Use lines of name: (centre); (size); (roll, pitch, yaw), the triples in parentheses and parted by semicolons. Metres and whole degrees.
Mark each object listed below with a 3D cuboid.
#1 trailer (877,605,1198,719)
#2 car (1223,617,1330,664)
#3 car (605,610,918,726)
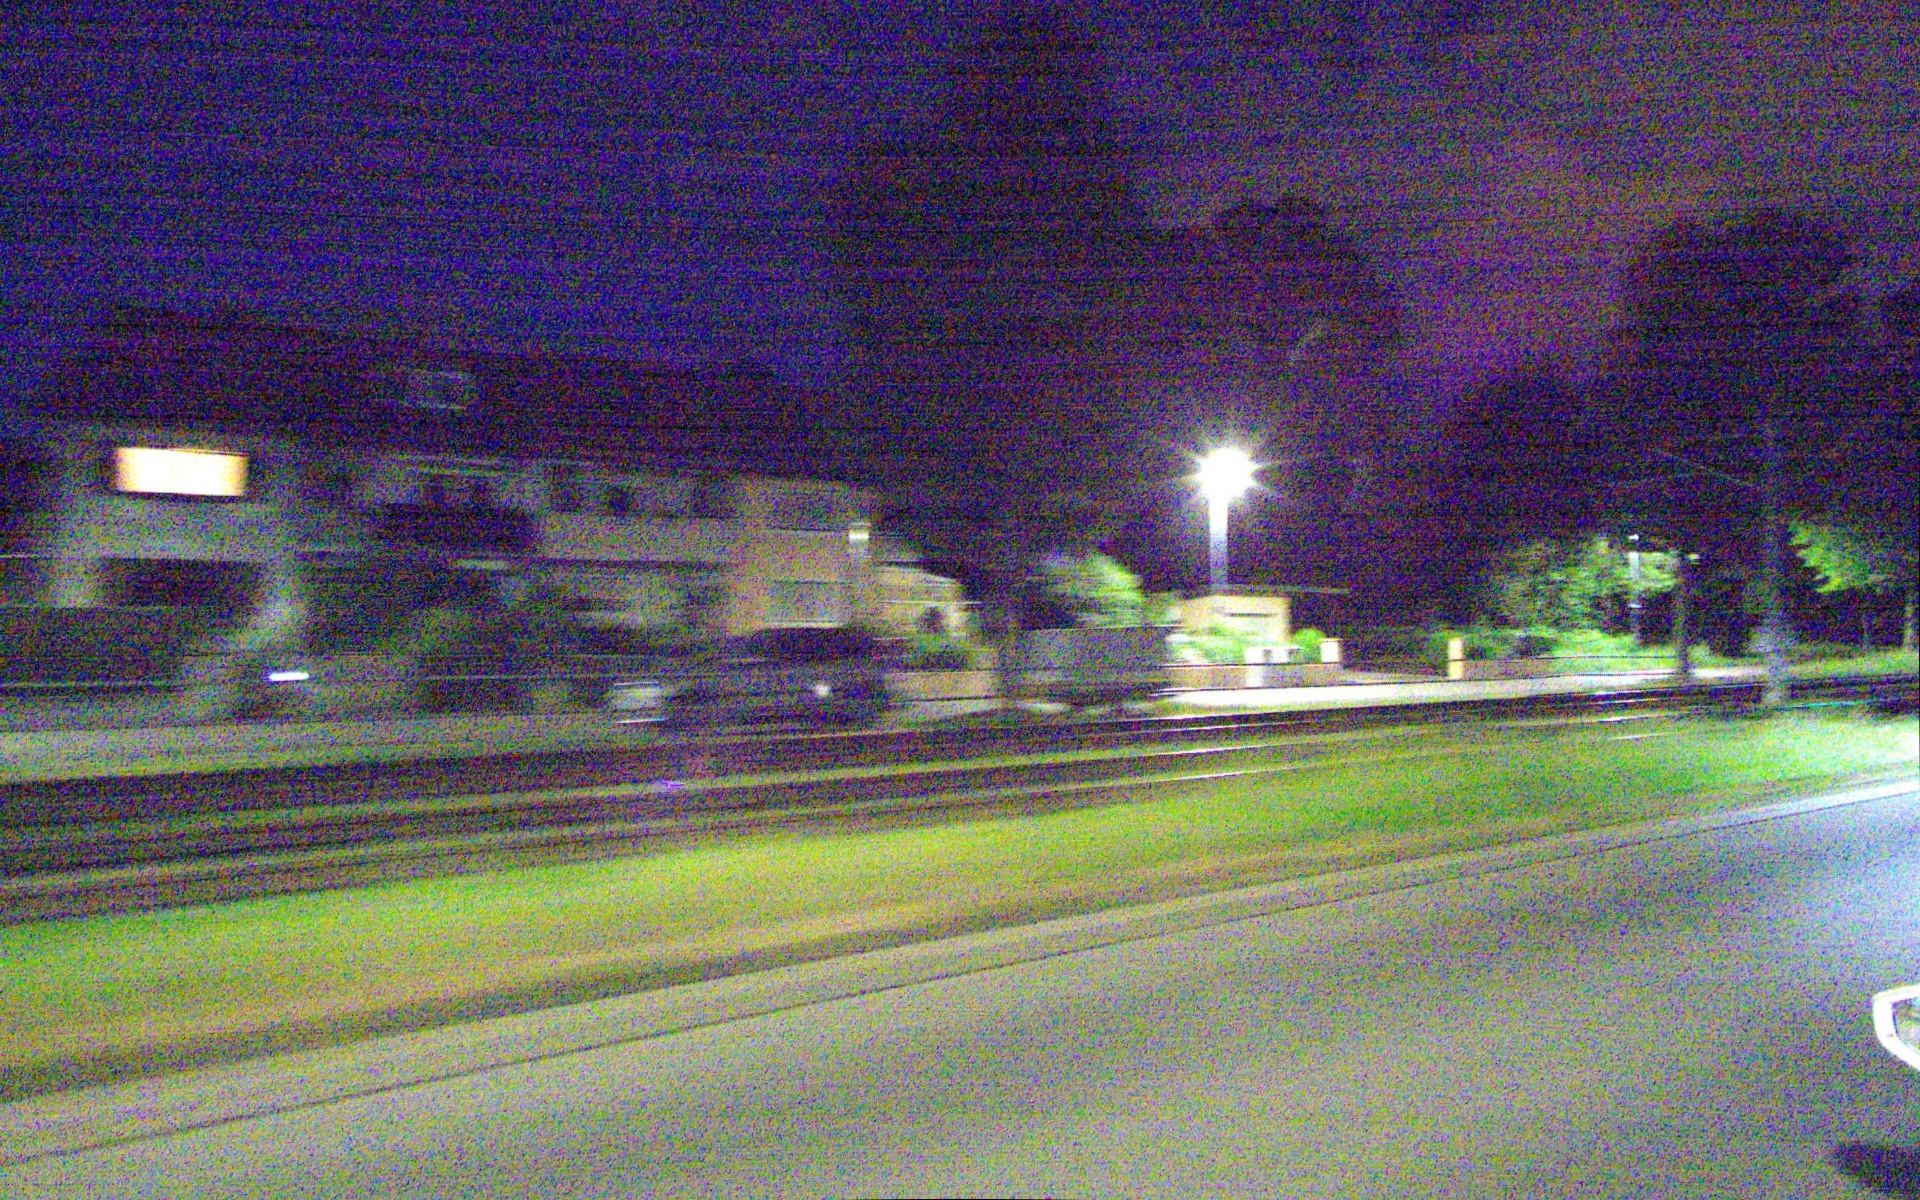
trailer: (1.470, 1.108, 18.107); (5.605, 1.804, 2.016); (2, -4, -29)
car: (12.519, 1.585, 39.984); (1.735, 1.630, 3.972); (2, 0, -27)
car: (-3.025, 1.073, 15.617); (4.479, 1.597, 1.710); (2, -5, -29)
